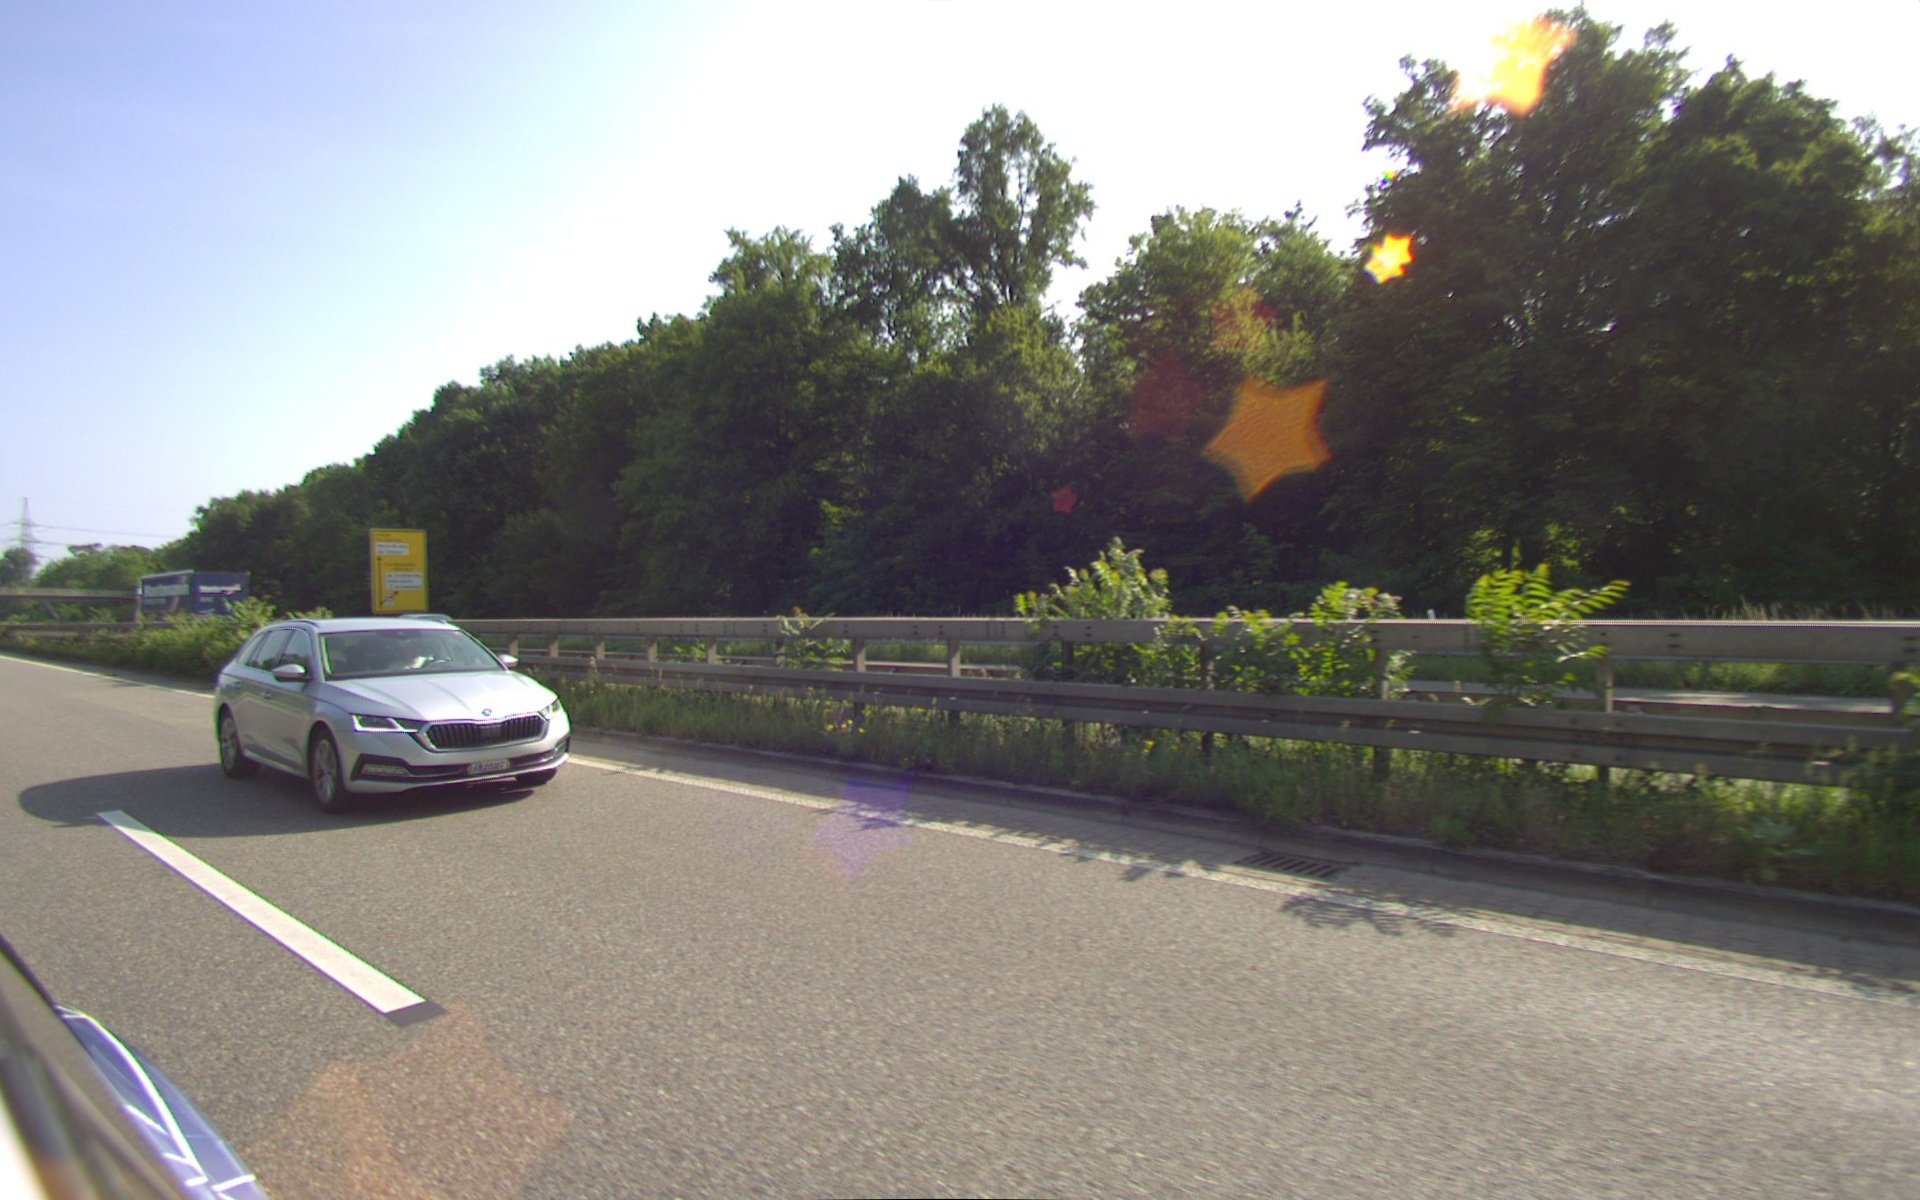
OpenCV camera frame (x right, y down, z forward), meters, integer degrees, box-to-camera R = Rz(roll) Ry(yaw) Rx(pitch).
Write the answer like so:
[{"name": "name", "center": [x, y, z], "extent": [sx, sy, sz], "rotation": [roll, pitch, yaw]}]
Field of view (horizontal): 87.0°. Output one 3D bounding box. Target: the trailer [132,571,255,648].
[{"name": "trailer", "center": [-45.862, 0.690, 60.275], "extent": [14.308, 4.101, 2.935], "rotation": [-2, -2, 41]}]

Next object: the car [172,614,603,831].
[{"name": "car", "center": [-5.422, 0.884, 9.190], "extent": [5.275, 1.449, 1.773], "rotation": [-2, -2, 41]}]

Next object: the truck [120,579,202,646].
[{"name": "truck", "center": [-51.541, 0.830, 65.230], "extent": [6.561, 4.101, 2.935], "rotation": [-2, -2, 41]}]

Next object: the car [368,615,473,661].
[{"name": "car", "center": [-19.576, 1.352, 36.648], "extent": [4.808, 1.476, 1.732], "rotation": [-2, 1, 42]}]
